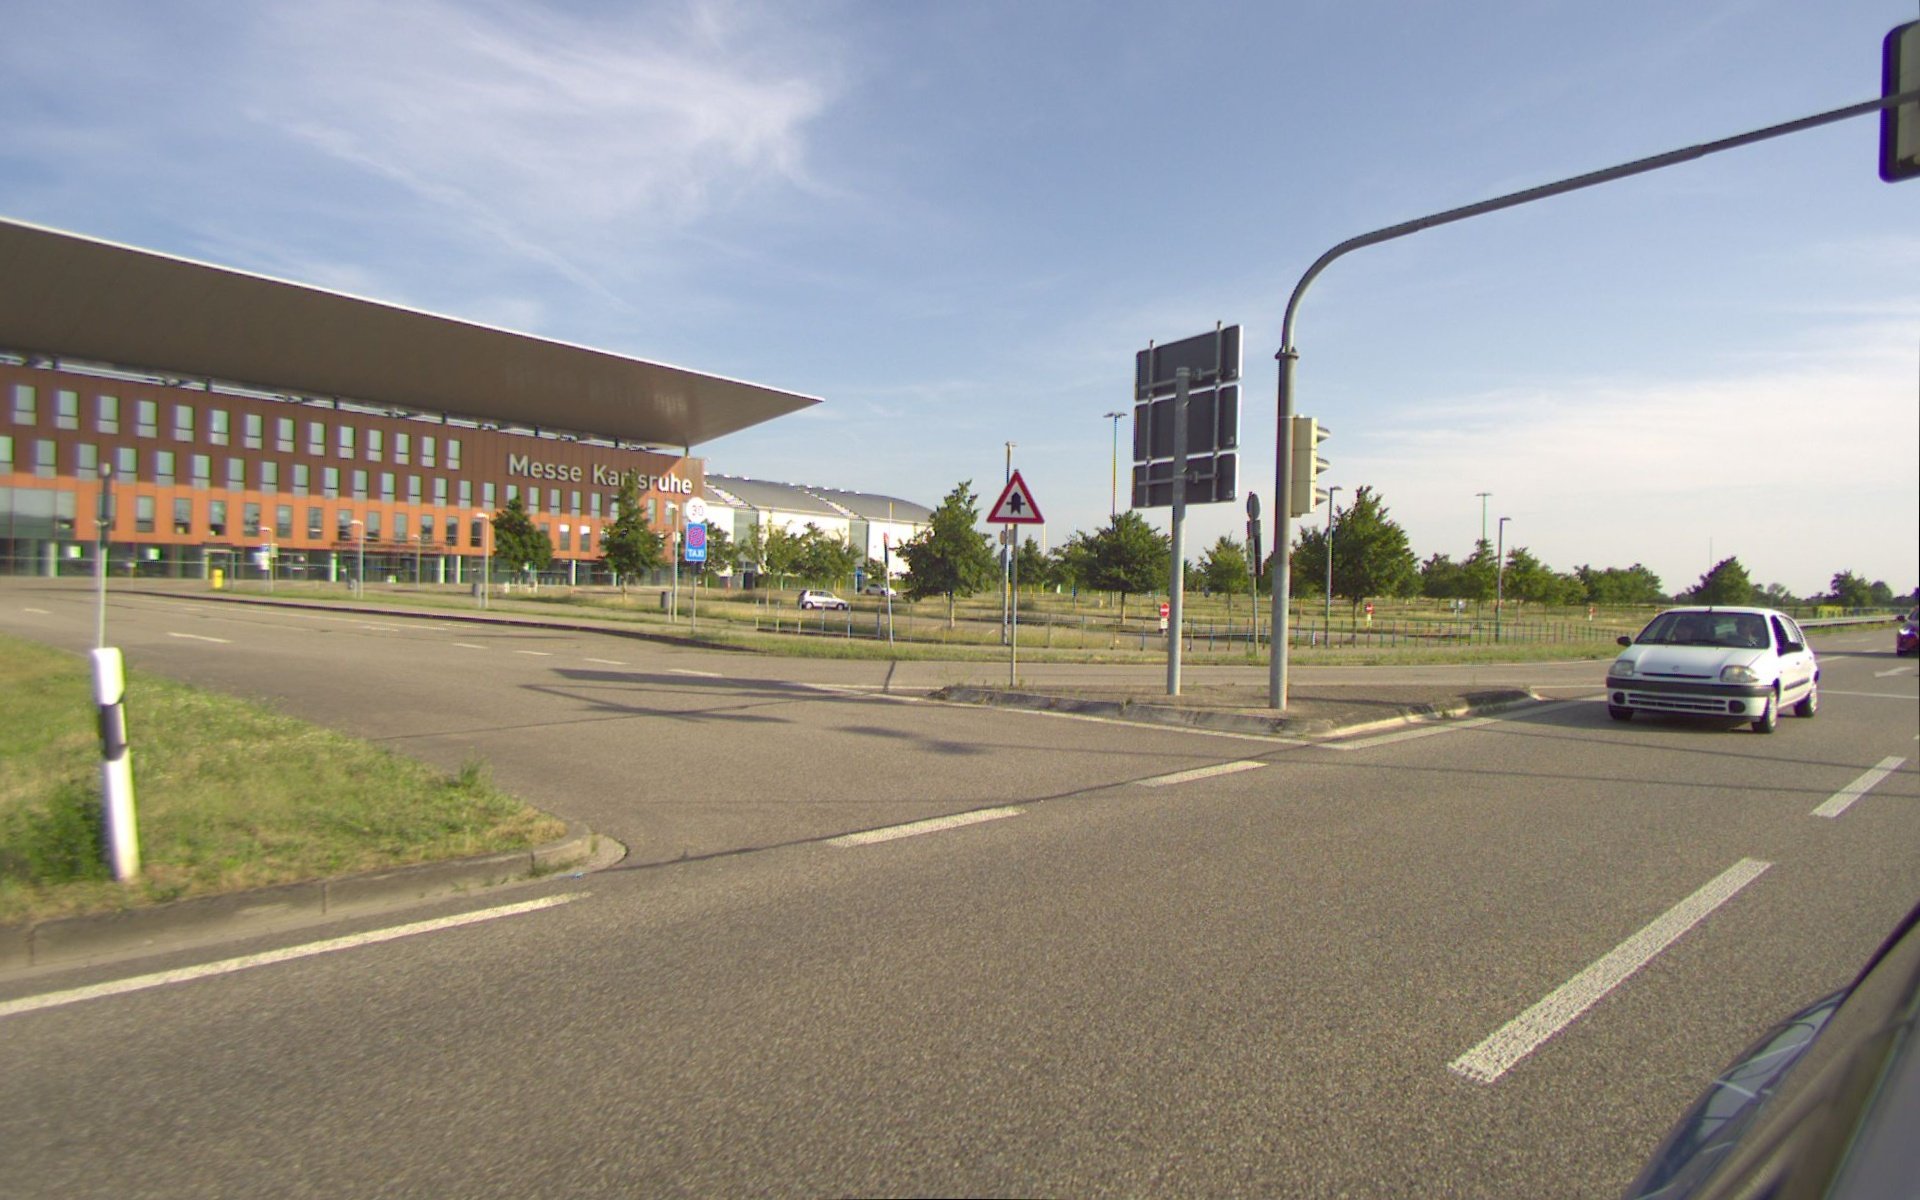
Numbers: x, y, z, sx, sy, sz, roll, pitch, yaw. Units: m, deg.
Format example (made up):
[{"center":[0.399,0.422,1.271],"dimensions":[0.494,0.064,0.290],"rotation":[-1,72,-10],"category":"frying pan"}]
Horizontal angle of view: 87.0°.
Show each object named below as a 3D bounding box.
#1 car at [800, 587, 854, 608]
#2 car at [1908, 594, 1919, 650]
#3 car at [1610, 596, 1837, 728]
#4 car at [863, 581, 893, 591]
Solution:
[{"center":[-9.662,-0.164,73.634],"dimensions":[3.493,1.473,1.714],"rotation":[1,0,-29],"category":"car"},{"center":[28.349,0.626,28.720],"dimensions":[3.674,1.540,1.750],"rotation":[1,0,-41],"category":"car"},{"center":[9.547,0.672,12.576],"dimensions":[3.391,1.396,1.577],"rotation":[1,0,-41],"category":"car"},{"center":[-10.482,-1.794,129.148],"dimensions":[1.461,1.295,4.202],"rotation":[1,0,-43],"category":"car"}]
